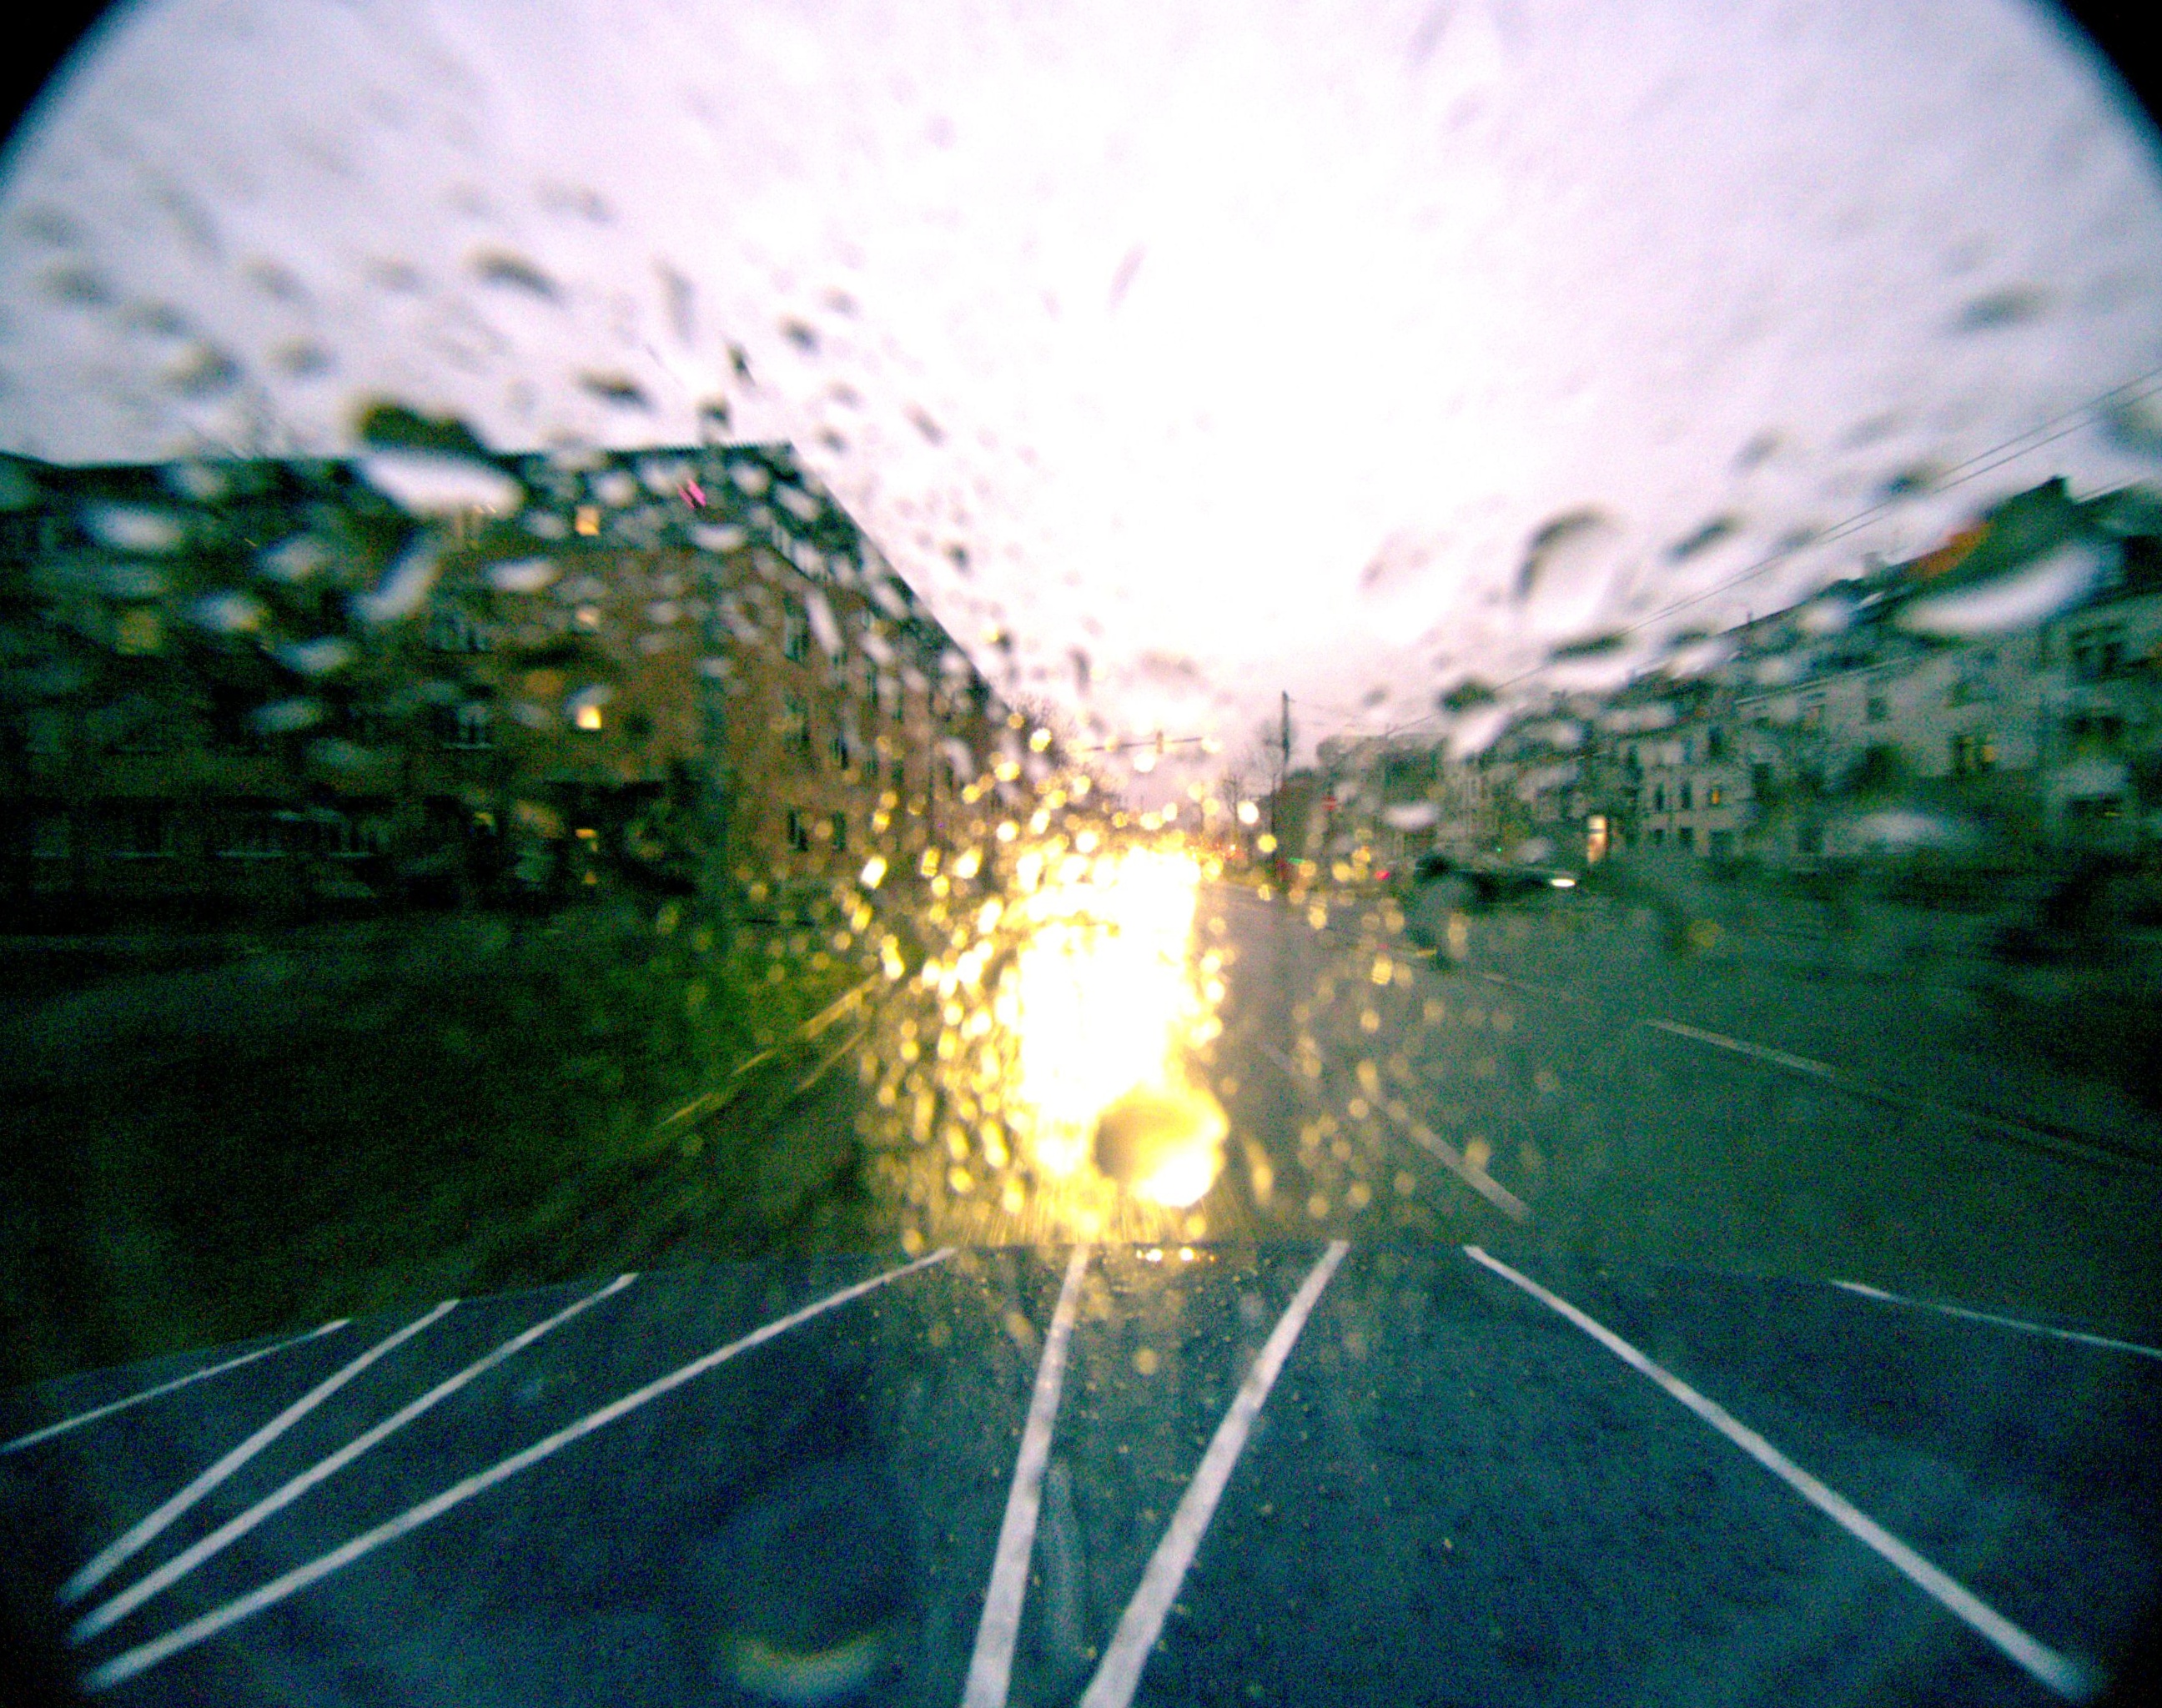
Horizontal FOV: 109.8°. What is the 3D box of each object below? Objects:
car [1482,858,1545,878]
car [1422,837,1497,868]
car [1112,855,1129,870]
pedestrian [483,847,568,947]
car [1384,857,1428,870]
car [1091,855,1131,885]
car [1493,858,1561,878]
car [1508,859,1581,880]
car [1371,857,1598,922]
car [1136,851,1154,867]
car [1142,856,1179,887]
[{"bbox_3d":[33.666,1.064,59.141,3.988,1.477,2.004,1,0,38],"label":"car"},{"bbox_3d":[35.291,-0.180,70.959,2.004,2.781,5.850,0,1,-44],"label":"car"},{"bbox_3d":[4.735,0.976,90.502,1.998,1.745,4.001,1,0,4],"label":"car"},{"bbox_3d":[-9.211,0.688,12.648,0.622,1.601,1.067,0,0,0],"label":"pedestrian"},{"bbox_3d":[35.193,1.006,82.234,3.988,1.324,2.004,1,0,39],"label":"car"},{"bbox_3d":[1.550,0.758,37.790,1.813,1.384,4.055,-1,0,4],"label":"car"},{"bbox_3d":[32.891,1.007,56.090,3.988,1.324,2.004,1,0,42],"label":"car"},{"bbox_3d":[32.078,1.053,52.613,3.988,1.324,2.004,1,0,42],"label":"car"},{"bbox_3d":[10.144,0.824,19.486,1.818,1.421,4.813,-1,0,-38],"label":"car"},{"bbox_3d":[7.355,0.552,87.908,1.998,1.745,4.001,1,0,4],"label":"car"},{"bbox_3d":[4.126,0.876,40.101,1.813,1.487,4.055,-1,0,4],"label":"car"}]
